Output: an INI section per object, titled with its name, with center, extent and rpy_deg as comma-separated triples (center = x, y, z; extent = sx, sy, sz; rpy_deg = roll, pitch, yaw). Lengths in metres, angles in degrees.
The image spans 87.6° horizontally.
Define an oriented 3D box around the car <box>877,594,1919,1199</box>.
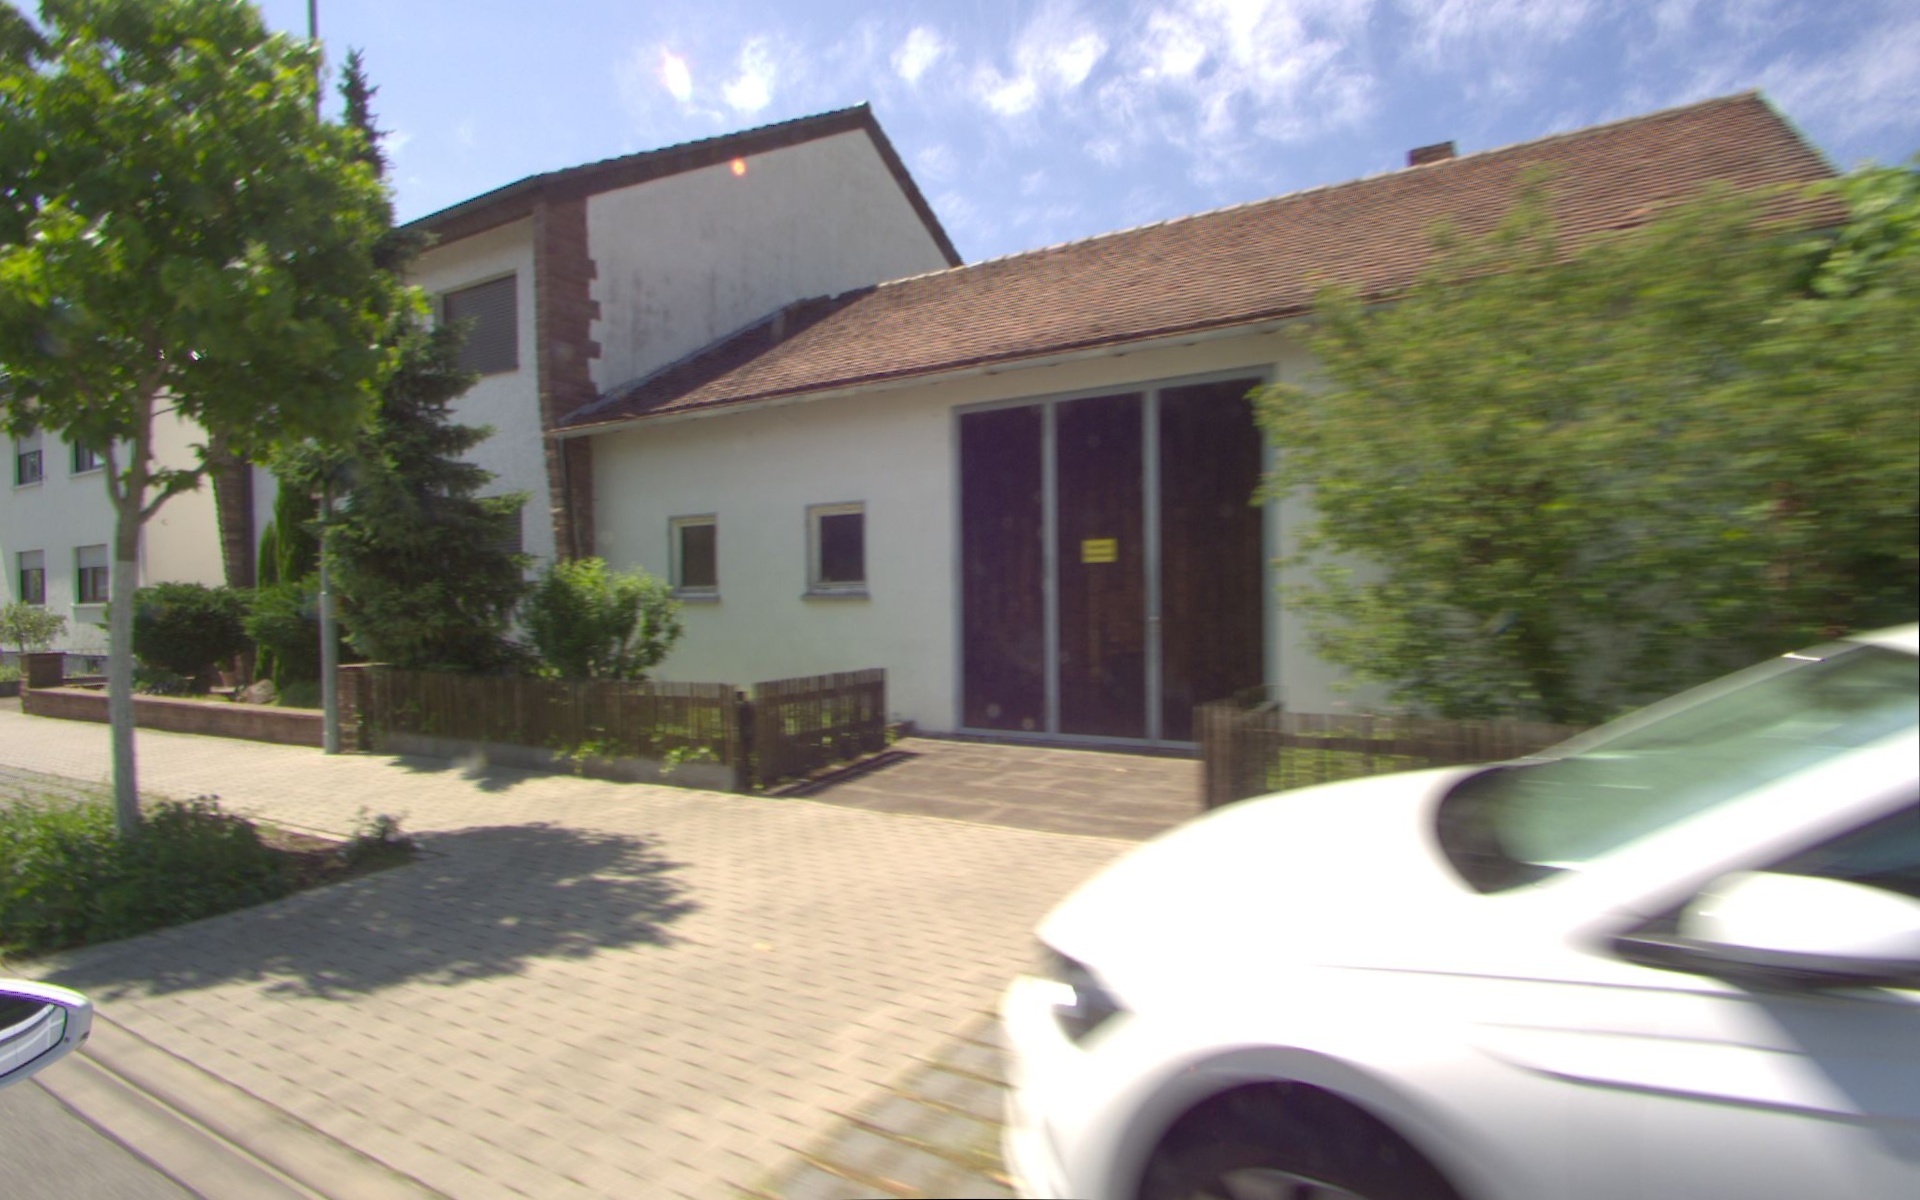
[car]
center = 1.923, 0.708, 1.849
extent = 3.810, 1.439, 1.811
rpy_deg = 0, 0, 31
